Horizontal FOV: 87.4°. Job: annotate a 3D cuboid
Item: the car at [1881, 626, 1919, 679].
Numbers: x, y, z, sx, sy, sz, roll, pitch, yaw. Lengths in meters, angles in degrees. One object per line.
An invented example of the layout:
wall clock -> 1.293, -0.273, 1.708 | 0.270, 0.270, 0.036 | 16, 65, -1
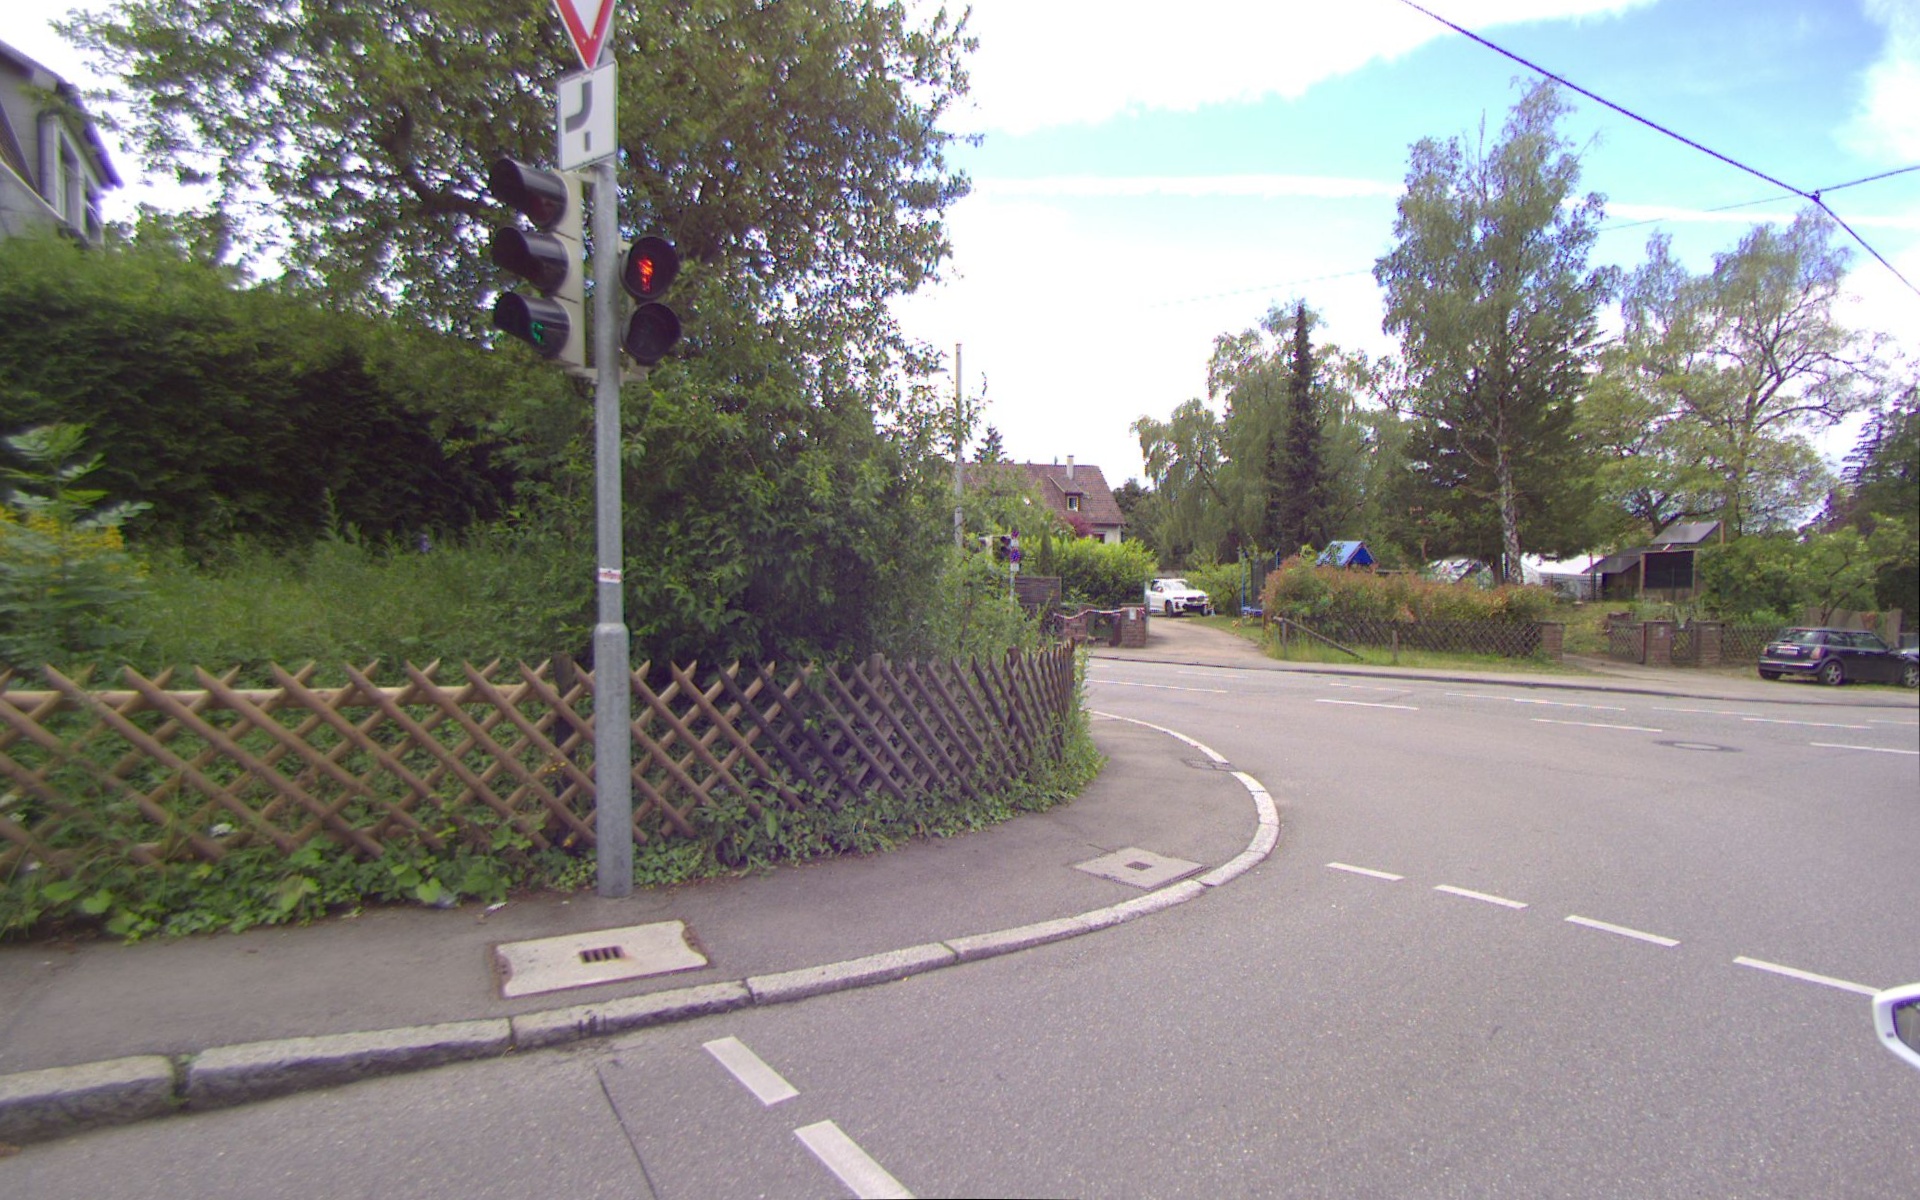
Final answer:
car -> 30.785, 1.651, 30.521 | 4.043, 1.574, 1.843 | 2, 1, 44

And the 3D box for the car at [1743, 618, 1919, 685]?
car -> 22.149, 1.296, 25.482 | 3.481, 1.468, 1.699 | 2, 2, -12

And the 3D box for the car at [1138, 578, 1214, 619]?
car -> 9.527, -0.109, 44.665 | 1.963, 1.680, 4.337 | -2, 1, -7
